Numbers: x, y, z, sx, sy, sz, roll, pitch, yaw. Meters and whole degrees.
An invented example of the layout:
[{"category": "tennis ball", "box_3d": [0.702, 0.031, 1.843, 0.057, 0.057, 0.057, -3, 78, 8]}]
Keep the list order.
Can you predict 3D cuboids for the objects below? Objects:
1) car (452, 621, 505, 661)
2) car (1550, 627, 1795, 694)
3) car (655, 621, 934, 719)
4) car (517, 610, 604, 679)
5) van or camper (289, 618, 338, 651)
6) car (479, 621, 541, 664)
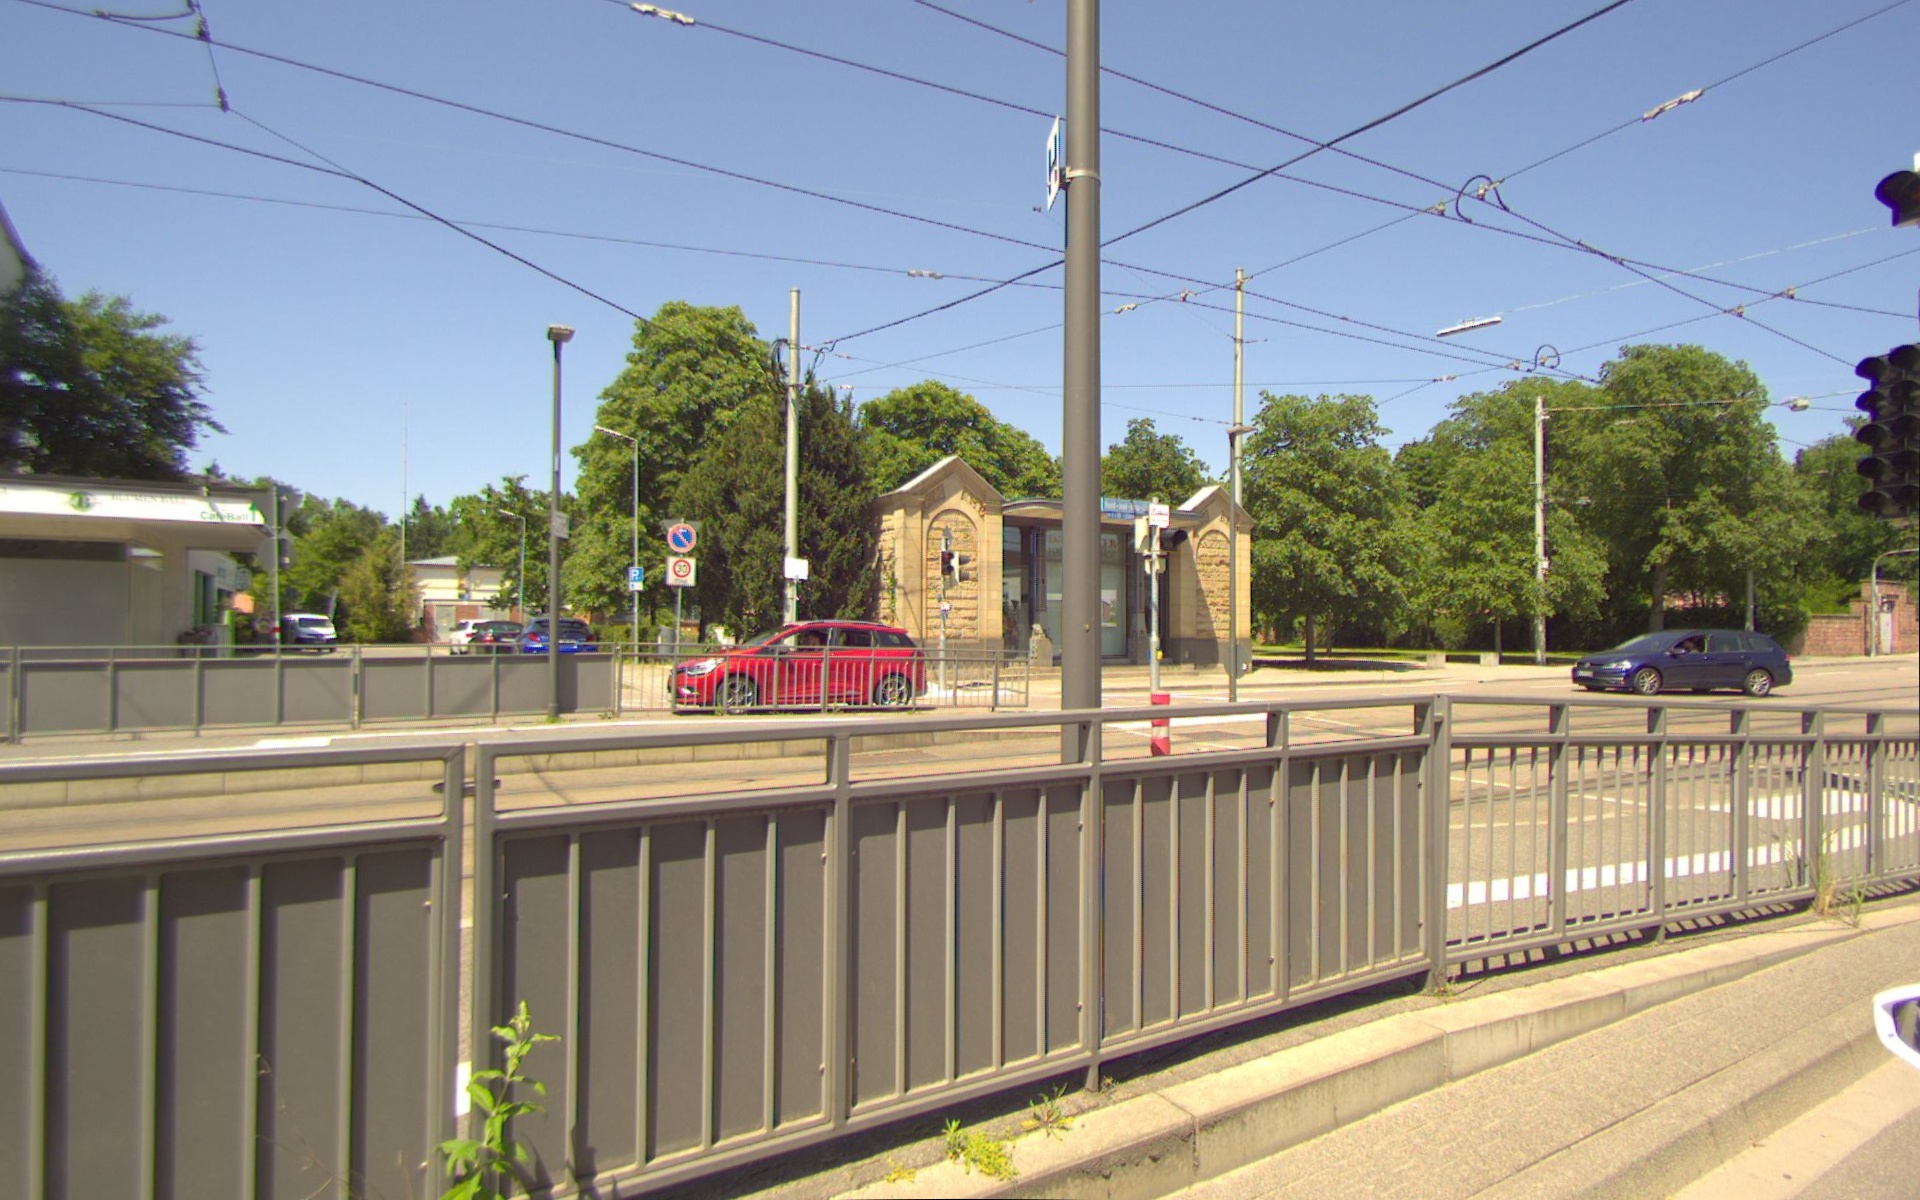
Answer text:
[{"category": "car", "box_3d": [-18.879, 1.611, 39.305, 1.625, 1.465, 3.784, 1, -3, -29]}, {"category": "car", "box_3d": [16.178, 1.354, 22.940, 4.392, 1.461, 1.862, 0, -1, -4]}, {"category": "car", "box_3d": [-2.649, 1.058, 16.237, 4.123, 1.414, 1.811, 1, -1, -28]}, {"category": "car", "box_3d": [-9.921, 1.034, 24.814, 1.799, 1.472, 3.934, 1, 1, -25]}, {"category": "van or camper", "box_3d": [-32.036, 1.696, 49.718, 1.676, 1.587, 3.784, 1, -2, -38]}, {"category": "car", "box_3d": [-15.310, 1.450, 34.118, 1.624, 1.388, 3.785, 1, -3, -29]}]
